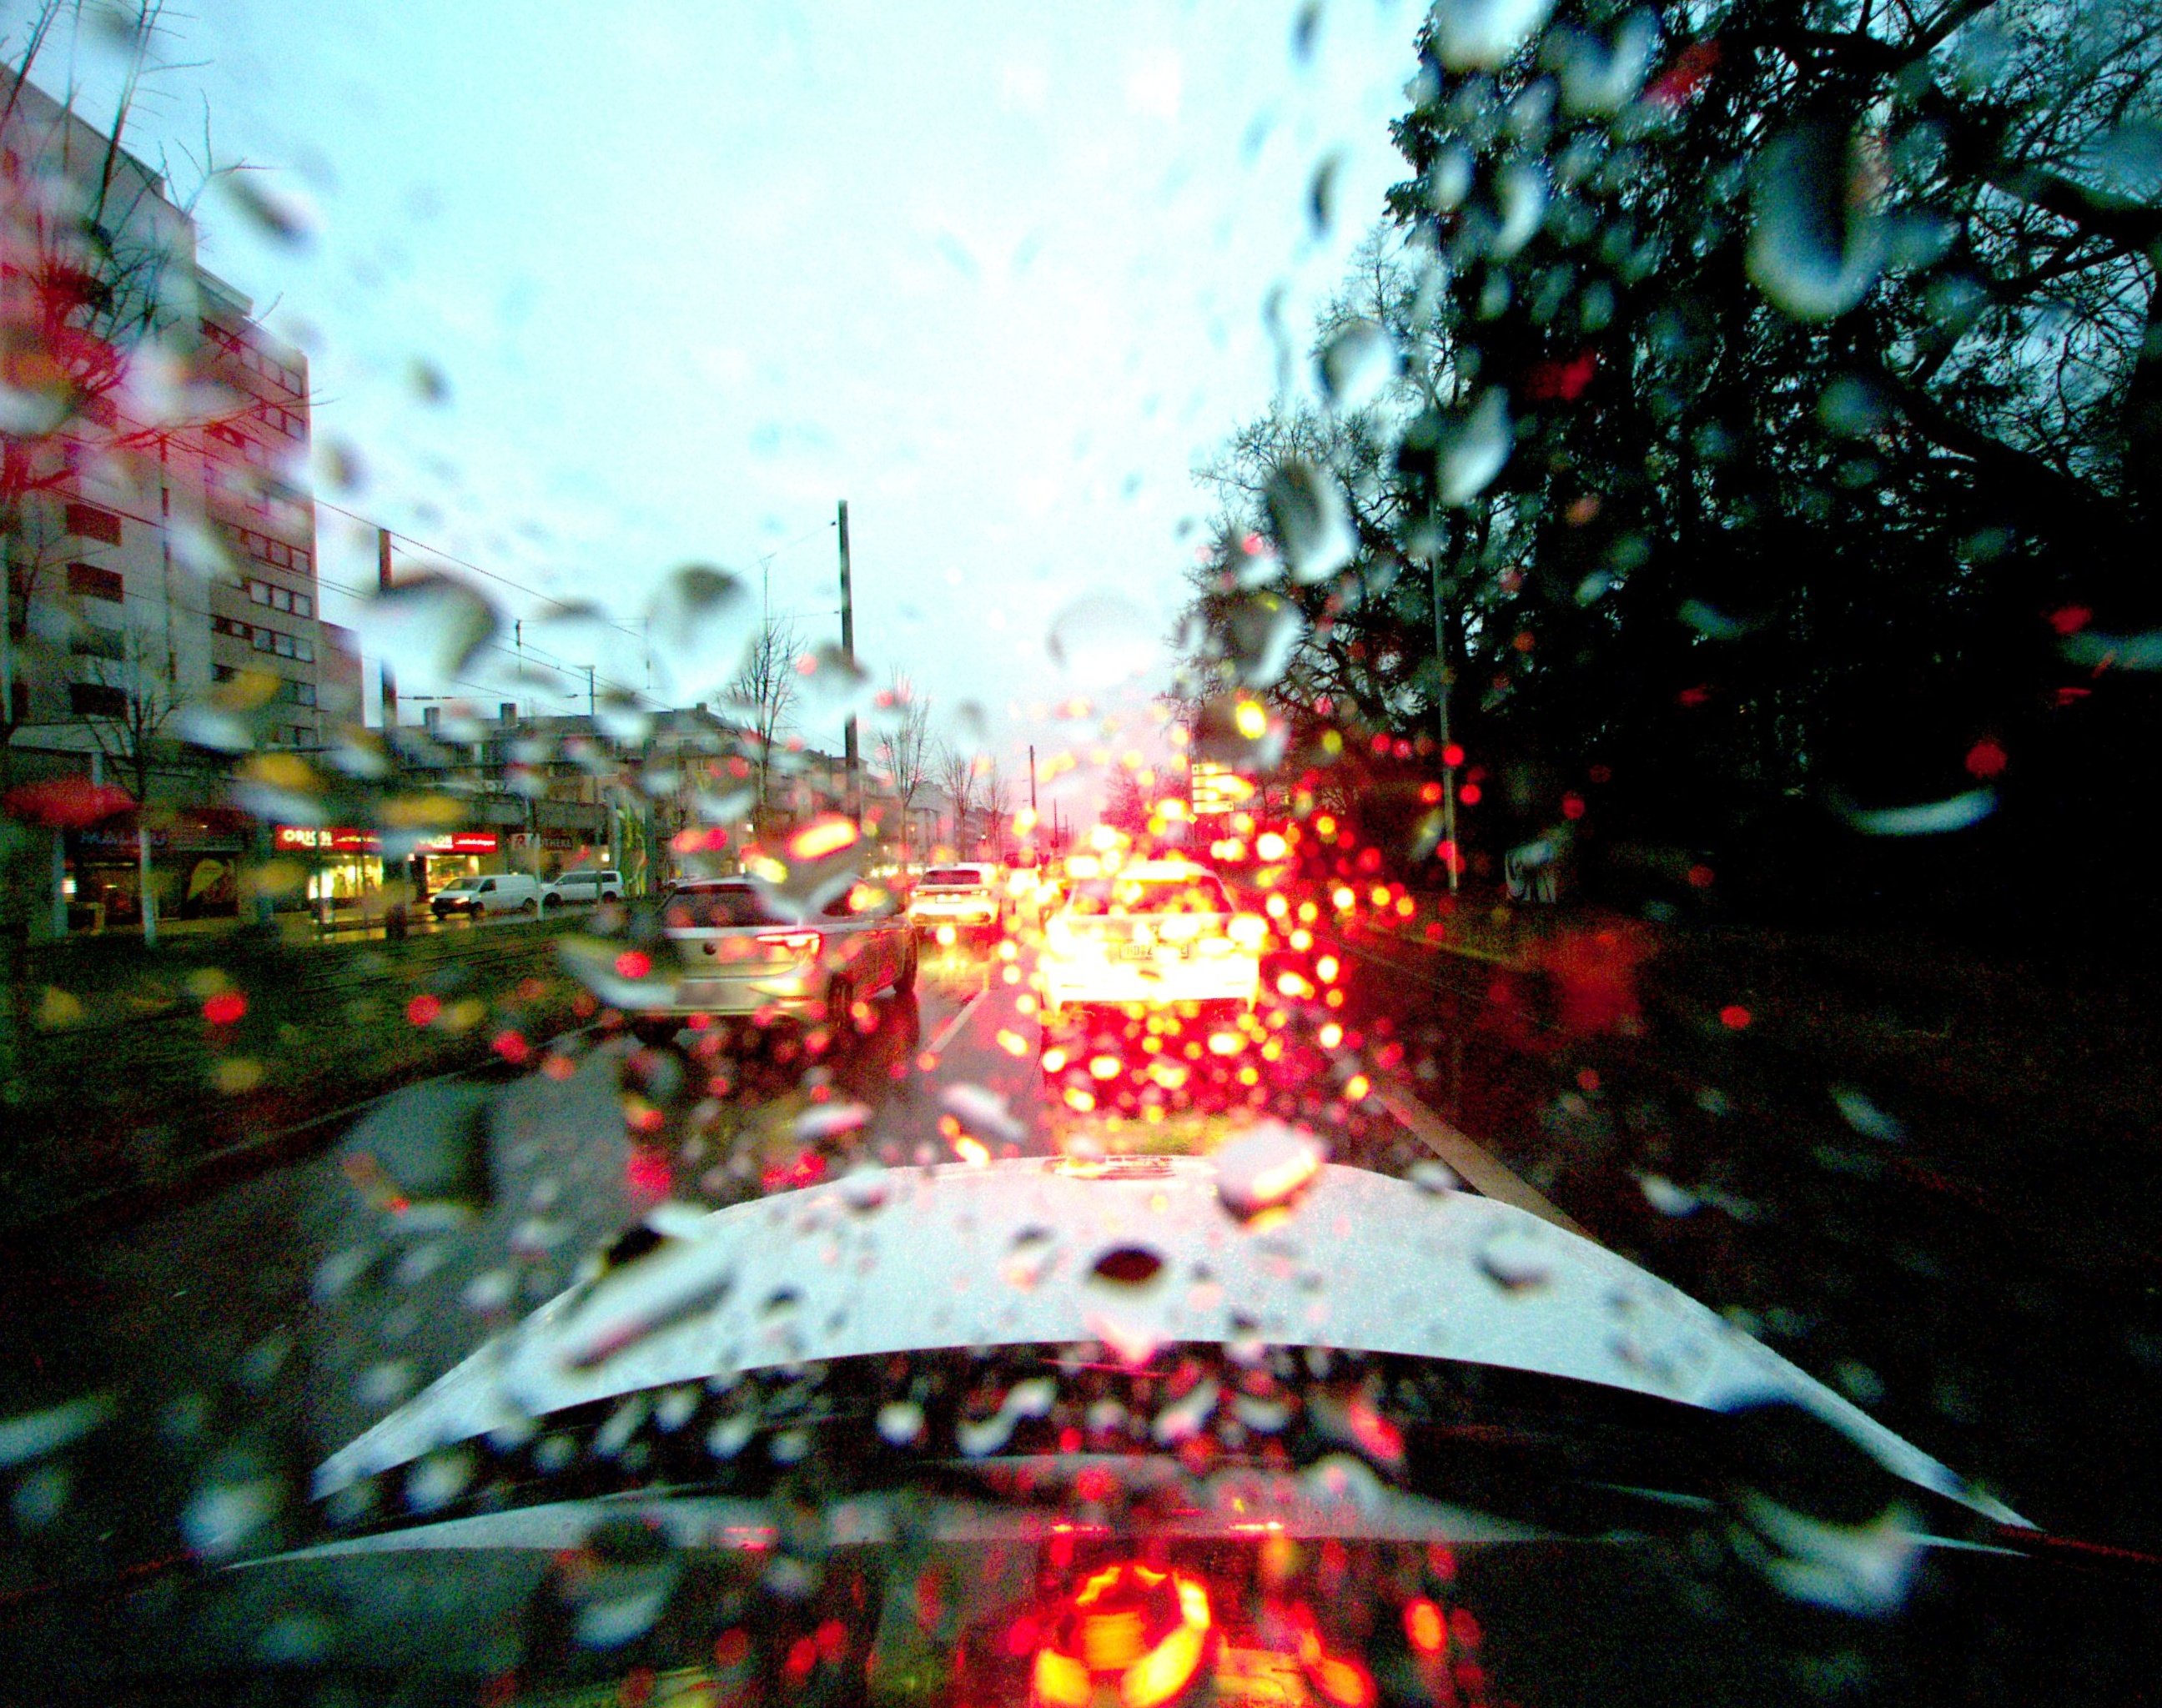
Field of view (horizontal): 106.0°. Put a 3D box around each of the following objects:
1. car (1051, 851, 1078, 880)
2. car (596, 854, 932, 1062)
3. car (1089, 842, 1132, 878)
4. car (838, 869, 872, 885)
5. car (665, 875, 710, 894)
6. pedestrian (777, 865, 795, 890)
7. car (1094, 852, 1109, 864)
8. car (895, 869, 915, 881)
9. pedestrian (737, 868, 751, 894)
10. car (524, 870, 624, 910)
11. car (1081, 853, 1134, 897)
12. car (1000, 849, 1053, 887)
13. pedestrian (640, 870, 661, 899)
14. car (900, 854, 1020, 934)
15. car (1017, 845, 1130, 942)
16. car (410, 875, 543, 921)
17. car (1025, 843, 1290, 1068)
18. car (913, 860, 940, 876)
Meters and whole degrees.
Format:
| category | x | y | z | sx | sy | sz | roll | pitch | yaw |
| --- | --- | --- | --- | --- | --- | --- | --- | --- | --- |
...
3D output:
| category | x | y | z | sx | sy | sz | roll | pitch | yaw |
| --- | --- | --- | --- | --- | --- | --- | --- | --- | --- |
| car | -0.975 | 0.675 | 48.137 | 1.501 | 1.653 | 2.843 | 0 | -1 | -2 |
| car | -2.751 | 0.781 | 8.124 | 1.687 | 1.533 | 4.001 | -1 | 0 | 1 |
| car | 1.314 | 0.246 | 36.291 | 1.731 | 1.419 | 3.704 | -3 | 0 | 2 |
| car | -21.195 | 2.150 | 76.390 | 1.852 | 1.332 | 4.316 | 0 | 0 | 1 |
| car | -40.684 | 3.156 | 84.308 | 3.744 | 1.942 | 1.838 | 0 | -1 | -7 |
| pedestrian | -23.925 | 1.891 | 65.998 | 1.274 | 2.013 | 1.000 | -2 | 0 | -23 |
| car | 2.563 | 0.460 | 102.049 | 1.731 | 1.419 | 4.147 | -3 | 0 | 2 |
| car | -20.865 | 2.446 | 96.697 | 1.688 | 1.277 | 4.141 | -2 | 0 | -4 |
| pedestrian | -26.460 | 2.112 | 63.901 | 0.963 | 2.013 | 1.000 | -2 | 0 | -22 |
| car | -30.711 | 2.108 | 49.425 | 4.859 | 2.244 | 1.975 | 0 | -1 | -44 |
| car | 0.939 | 0.699 | 29.365 | 1.731 | 1.419 | 3.704 | -3 | 0 | 2 |
| car | -2.192 | 0.534 | 33.759 | 1.731 | 1.419 | 4.395 | -3 | 0 | 2 |
| pedestrian | -30.994 | 2.195 | 58.638 | 1.076 | 2.013 | 0.996 | -2 | 0 | -38 |
| car | -2.523 | 0.772 | 18.125 | 1.792 | 1.466 | 4.587 | -3 | 0 | 2 |
| car | -0.057 | 0.654 | 15.187 | 1.793 | 1.511 | 3.897 | -2 | 0 | 2 |
| car | -29.712 | 2.102 | 40.321 | 1.983 | 2.046 | 5.575 | 0 | -1 | 6 |
| car | 0.630 | 0.734 | 8.369 | 1.855 | 1.556 | 4.940 | -3 | 0 | 2 |
| car | -16.141 | 1.450 | 85.128 | 1.987 | 1.602 | 4.000 | 0 | -1 | 1 |
